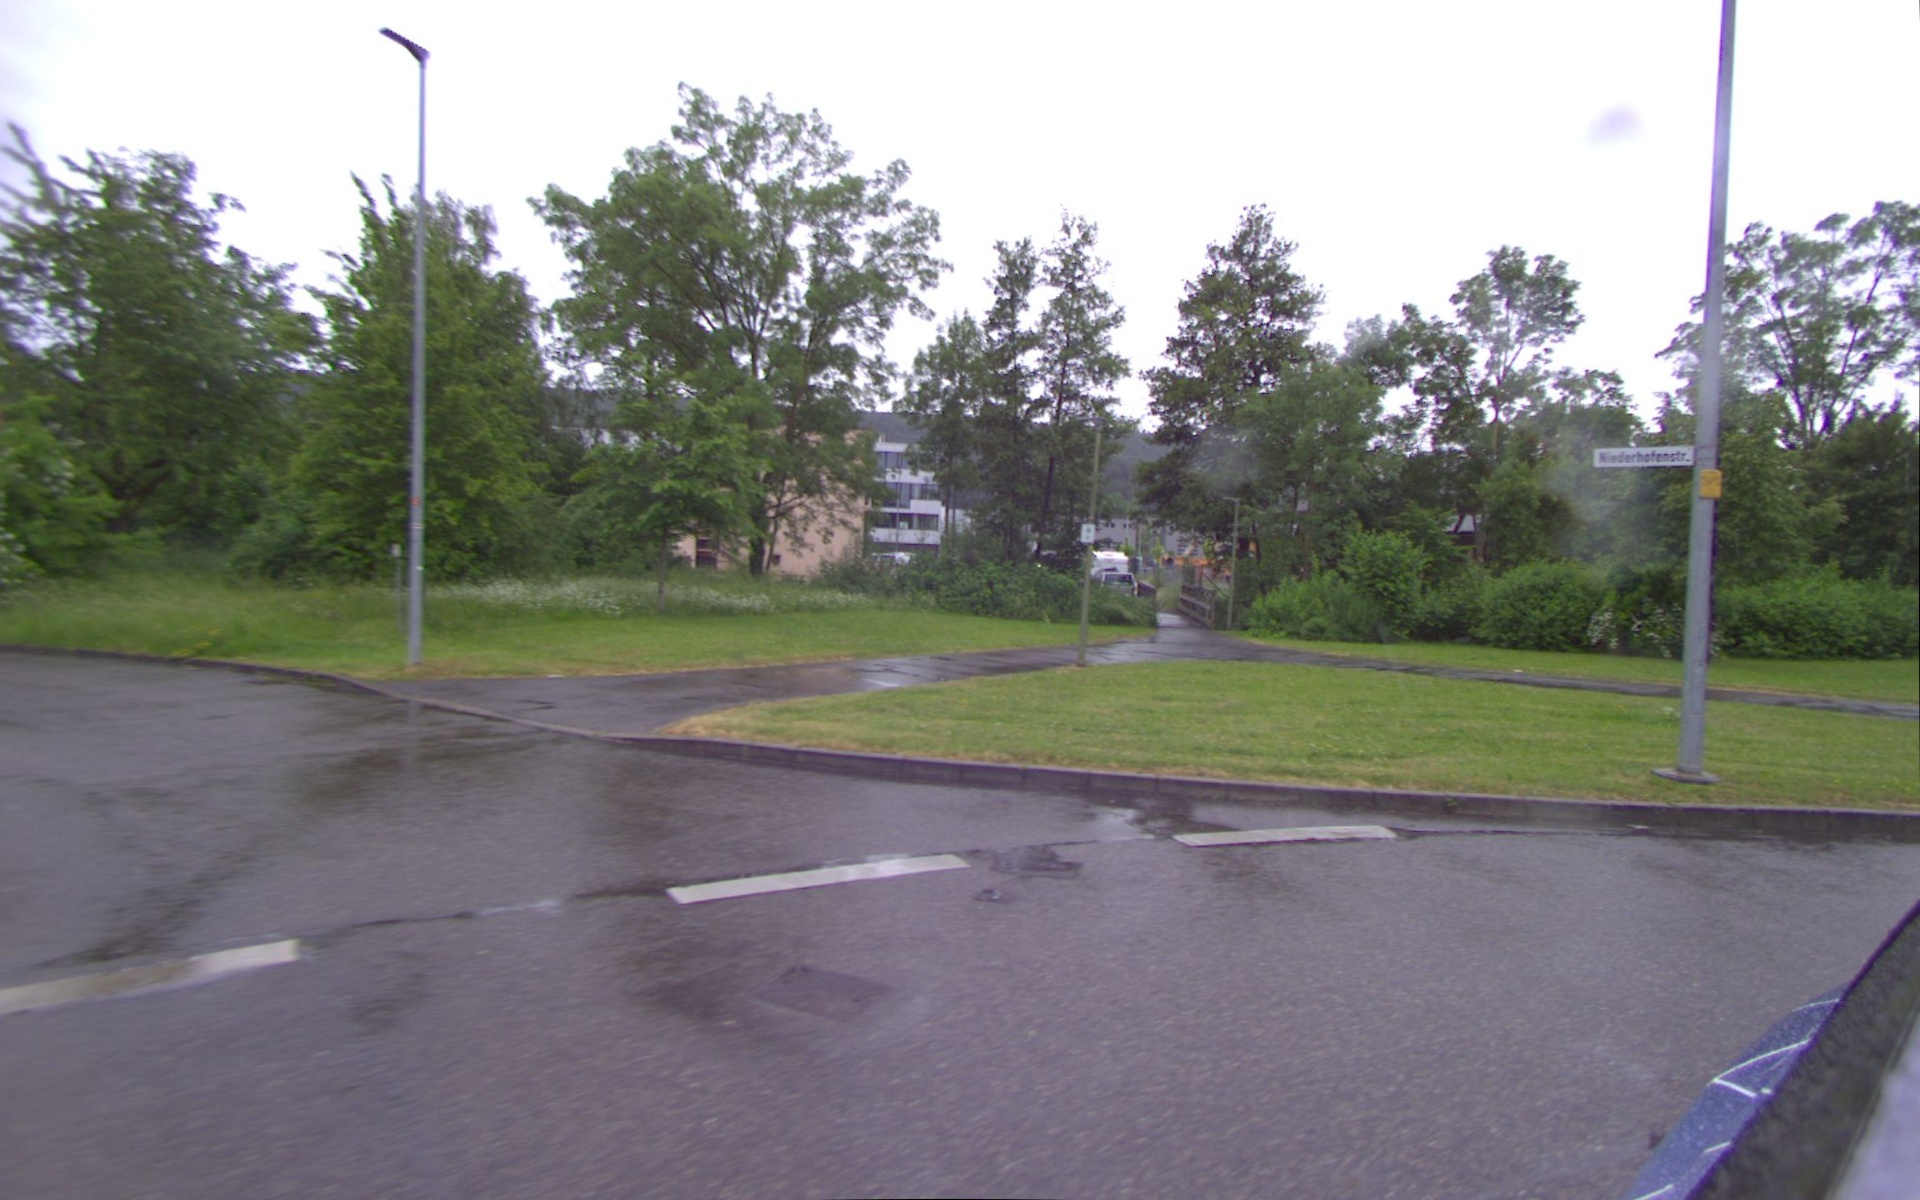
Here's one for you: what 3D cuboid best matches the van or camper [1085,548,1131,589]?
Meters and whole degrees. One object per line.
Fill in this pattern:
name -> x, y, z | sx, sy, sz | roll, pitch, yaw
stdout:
van or camper -> 9.195, -1.983, 62.438 | 2.503, 2.271, 5.962 | 4, 3, 9

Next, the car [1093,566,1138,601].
car -> 8.073, -0.894, 52.798 | 1.964, 1.735, 3.997 | 2, 2, 4
